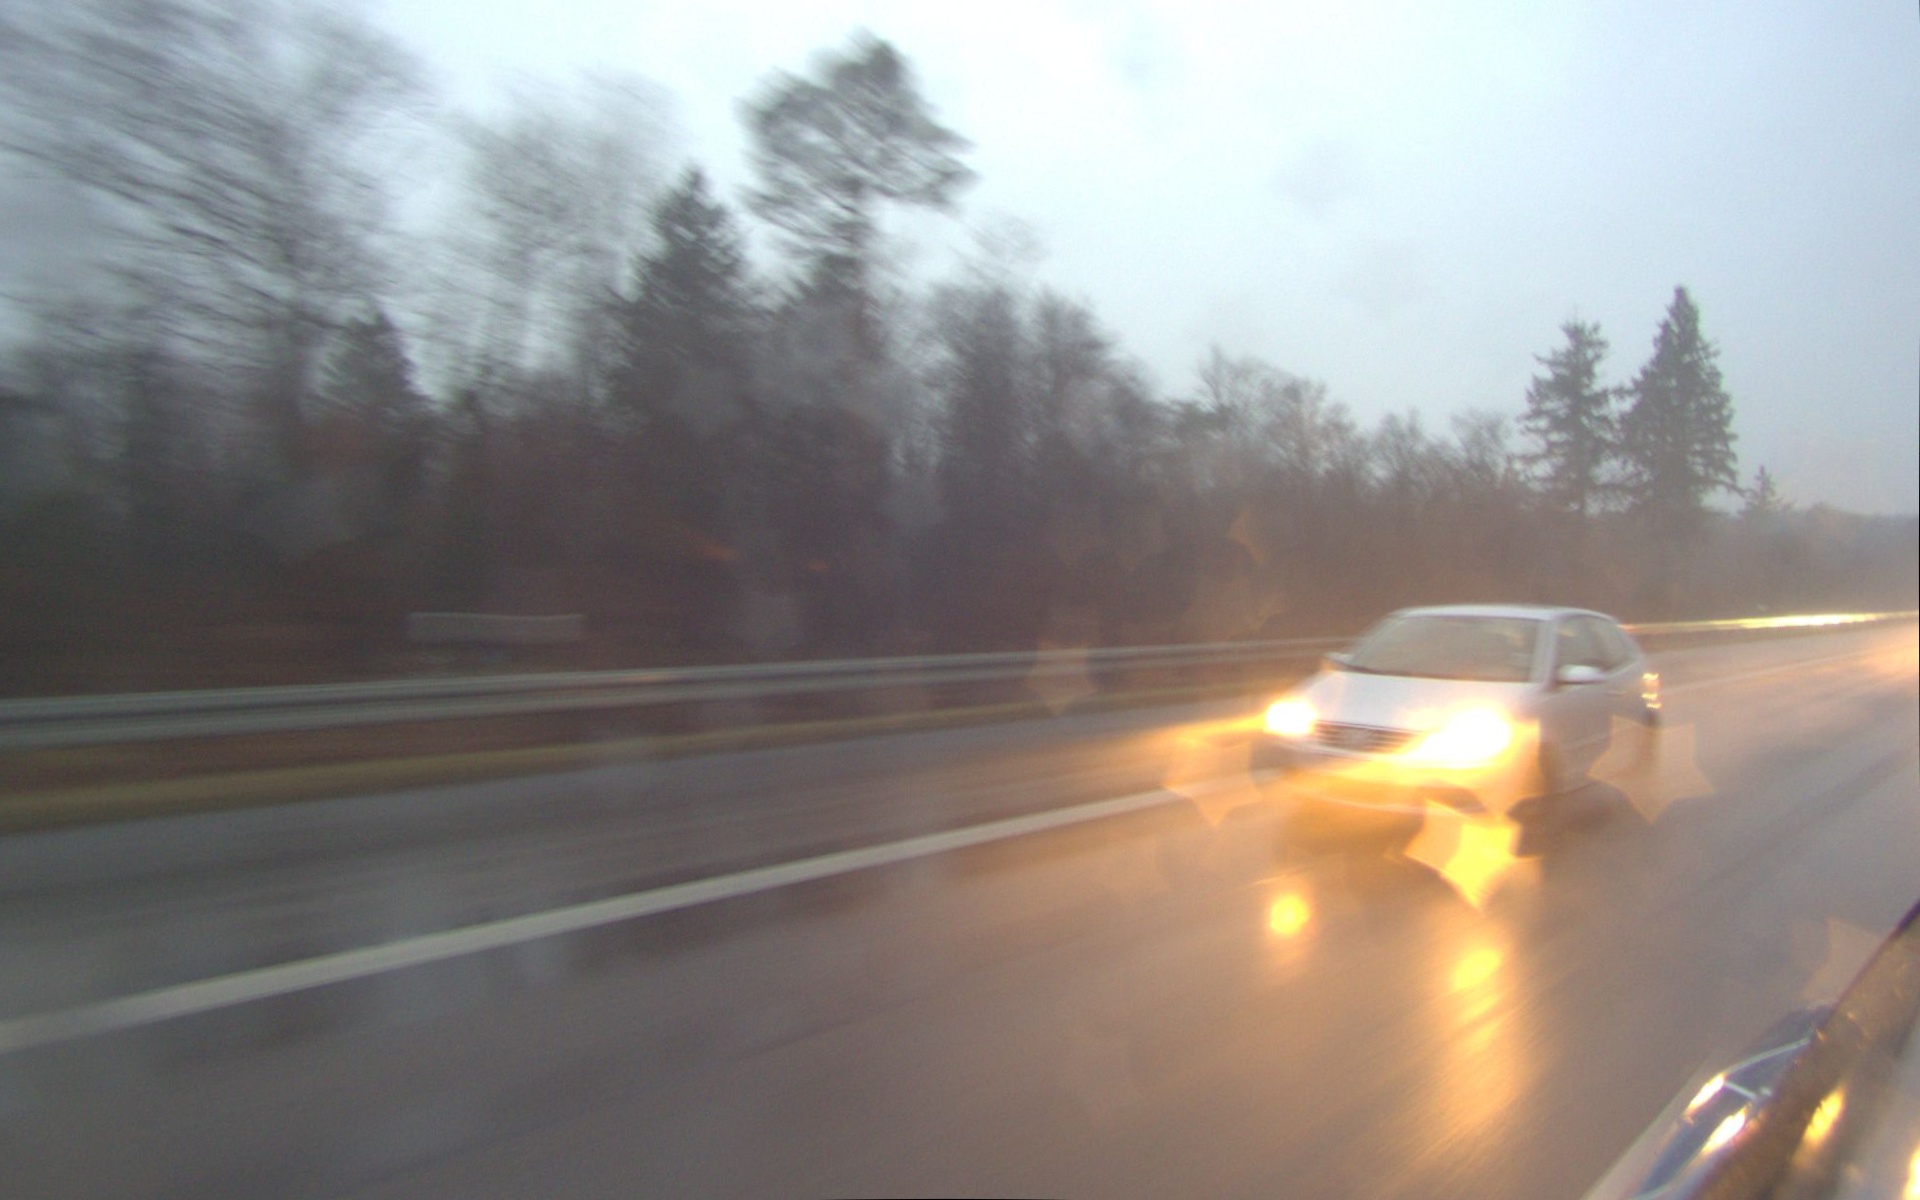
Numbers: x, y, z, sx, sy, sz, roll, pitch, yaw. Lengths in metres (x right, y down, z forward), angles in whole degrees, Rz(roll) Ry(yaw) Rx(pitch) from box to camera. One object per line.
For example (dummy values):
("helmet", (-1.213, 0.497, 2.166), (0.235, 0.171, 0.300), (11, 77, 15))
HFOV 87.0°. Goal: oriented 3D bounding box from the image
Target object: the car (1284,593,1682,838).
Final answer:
("car", (3.953, 0.644, 7.461), (3.249, 1.383, 1.601), (-1, 0, -43))
